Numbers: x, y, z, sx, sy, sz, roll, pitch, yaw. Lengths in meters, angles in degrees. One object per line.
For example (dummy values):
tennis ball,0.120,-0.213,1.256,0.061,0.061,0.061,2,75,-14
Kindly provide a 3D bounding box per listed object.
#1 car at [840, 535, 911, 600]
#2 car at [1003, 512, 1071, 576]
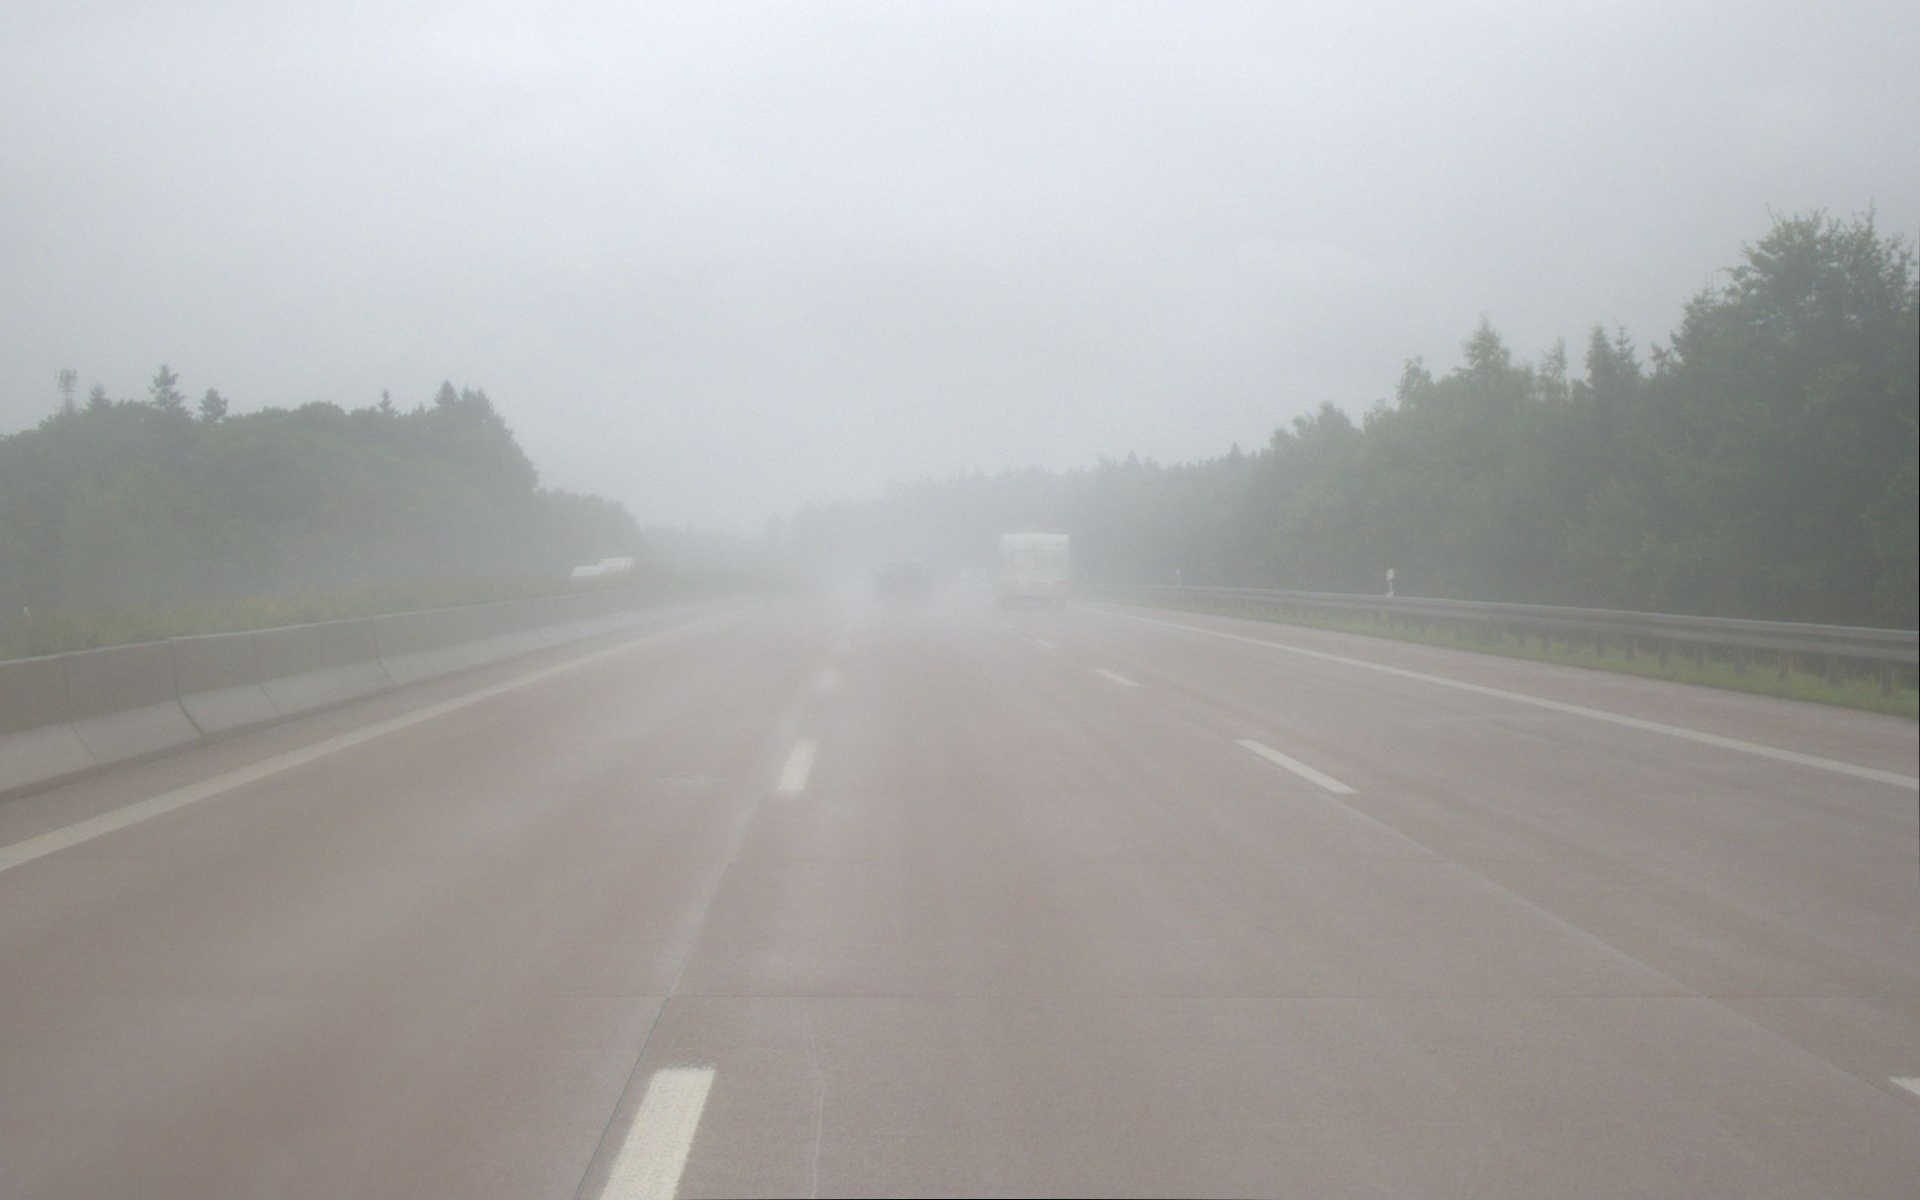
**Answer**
car,-2.780,-1.105,113.474,2.173,1.974,4.130,3,1,-1
car,2.589,-1.899,116.116,2.058,1.993,4.099,3,1,-1
